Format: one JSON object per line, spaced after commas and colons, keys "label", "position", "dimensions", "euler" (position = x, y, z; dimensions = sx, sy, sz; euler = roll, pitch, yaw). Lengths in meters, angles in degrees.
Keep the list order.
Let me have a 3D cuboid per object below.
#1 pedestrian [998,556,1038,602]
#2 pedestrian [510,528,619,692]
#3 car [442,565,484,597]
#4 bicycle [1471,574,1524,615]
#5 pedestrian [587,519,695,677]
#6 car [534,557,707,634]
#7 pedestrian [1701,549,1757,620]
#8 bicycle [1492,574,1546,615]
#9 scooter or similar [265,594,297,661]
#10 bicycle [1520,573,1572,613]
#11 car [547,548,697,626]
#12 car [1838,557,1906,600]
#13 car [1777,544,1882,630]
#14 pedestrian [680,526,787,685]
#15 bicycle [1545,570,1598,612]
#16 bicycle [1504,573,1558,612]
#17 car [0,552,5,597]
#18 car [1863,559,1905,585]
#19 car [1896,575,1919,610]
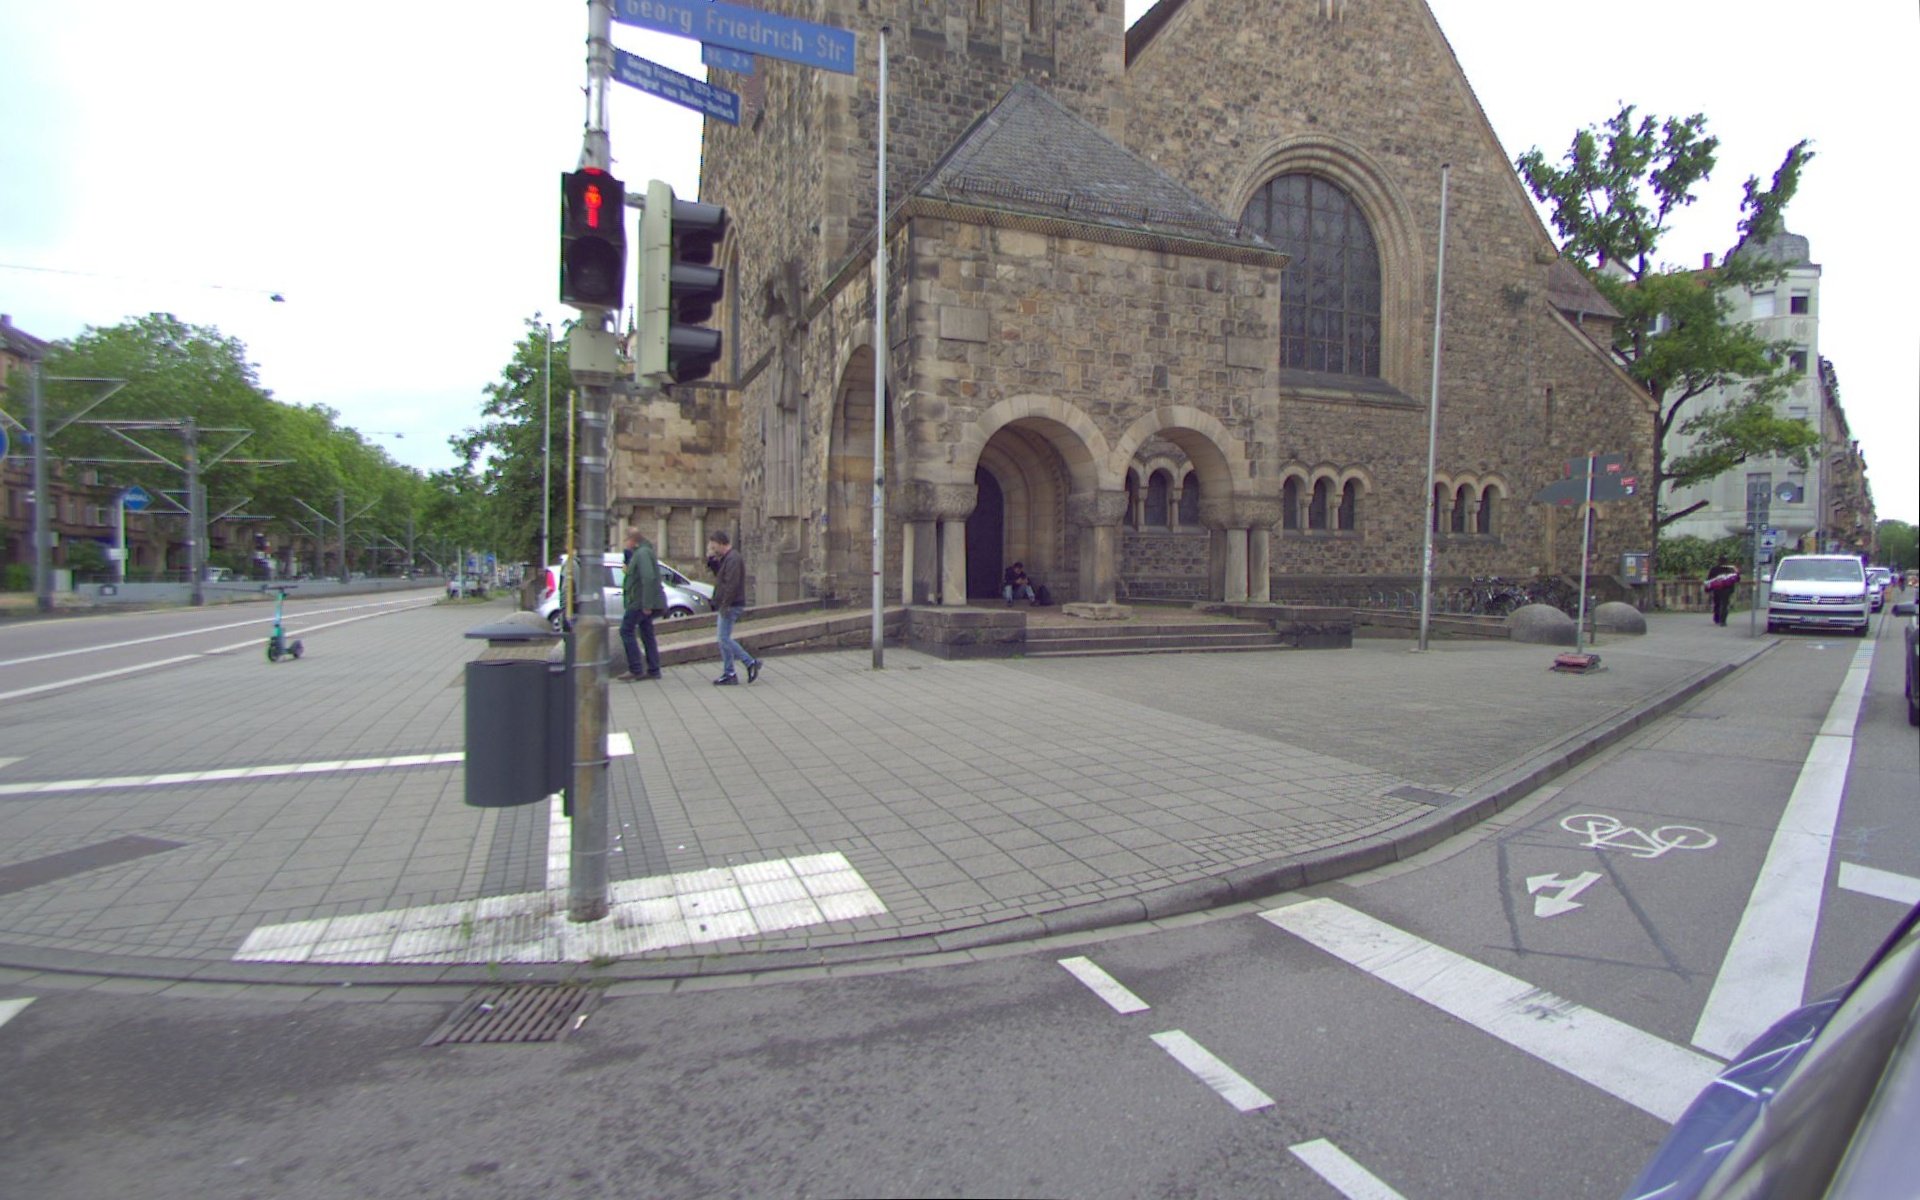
{"label": "pedestrian", "position": [1.231, -0.456, 21.534], "dimensions": [0.602, 0.963, 0.675], "euler": [0, 1, -23]}
{"label": "pedestrian", "position": [-4.299, 0.081, 11.007], "dimensions": [0.952, 1.693, 0.634], "euler": [-1, 3, -39]}
{"label": "car", "position": [-25.528, -1.018, 52.063], "dimensions": [1.652, 1.549, 3.475], "euler": [-1, 2, -22]}
{"label": "bicycle", "position": [14.635, -0.163, 27.583], "dimensions": [0.304, 1.073, 1.386], "euler": [0, 2, -23]}
{"label": "pedestrian", "position": [-3.793, -0.049, 12.036], "dimensions": [0.805, 1.780, 0.954], "euler": [4, 4, 44]}
{"label": "car", "position": [-7.257, -0.137, 21.760], "dimensions": [3.394, 1.549, 1.622], "euler": [-1, 2, -19]}
{"label": "pedestrian", "position": [20.549, -0.434, 27.040], "dimensions": [0.999, 1.830, 0.818], "euler": [-3, 2, -25]}
{"label": "bicycle", "position": [15.247, -0.155, 27.632], "dimensions": [0.304, 1.073, 1.386], "euler": [0, 2, -23]}
{"label": "scooter or similar", "position": [-11.171, 0.440, 16.661], "dimensions": [0.235, 1.066, 0.775], "euler": [0, 1, -20]}
{"label": "bicycle", "position": [16.413, -0.208, 28.381], "dimensions": [0.304, 1.073, 1.346], "euler": [0, 2, -23]}
{"label": "car", "position": [-8.332, -0.362, 25.062], "dimensions": [3.394, 1.815, 1.691], "euler": [-1, 2, -19]}
{"label": "car", "position": [35.666, -0.855, 39.549], "dimensions": [1.816, 1.585, 3.937], "euler": [2, 2, 44]}
{"label": "car", "position": [21.865, -0.366, 25.383], "dimensions": [1.805, 1.943, 5.085], "euler": [2, 2, 43]}
{"label": "pedestrian", "position": [-2.569, 0.034, 11.503], "dimensions": [0.675, 1.706, 0.954], "euler": [4, 4, 44]}
{"label": "bicycle", "position": [17.292, -0.269, 28.658], "dimensions": [0.304, 1.161, 1.346], "euler": [0, 2, -23]}
{"label": "bicycle", "position": [15.841, -0.222, 28.101], "dimensions": [0.304, 1.073, 1.386], "euler": [0, 2, -23]}
{"label": "car", "position": [-60.242, -1.451, 58.844], "dimensions": [2.208, 2.762, 7.097], "euler": [-1, 2, 6]}
{"label": "car", "position": [57.381, -1.760, 62.809], "dimensions": [1.816, 1.585, 3.937], "euler": [2, 2, 44]}
{"label": "car", "position": [52.123, -0.456, 54.965], "dimensions": [1.827, 1.793, 3.939], "euler": [1, 2, 43]}
